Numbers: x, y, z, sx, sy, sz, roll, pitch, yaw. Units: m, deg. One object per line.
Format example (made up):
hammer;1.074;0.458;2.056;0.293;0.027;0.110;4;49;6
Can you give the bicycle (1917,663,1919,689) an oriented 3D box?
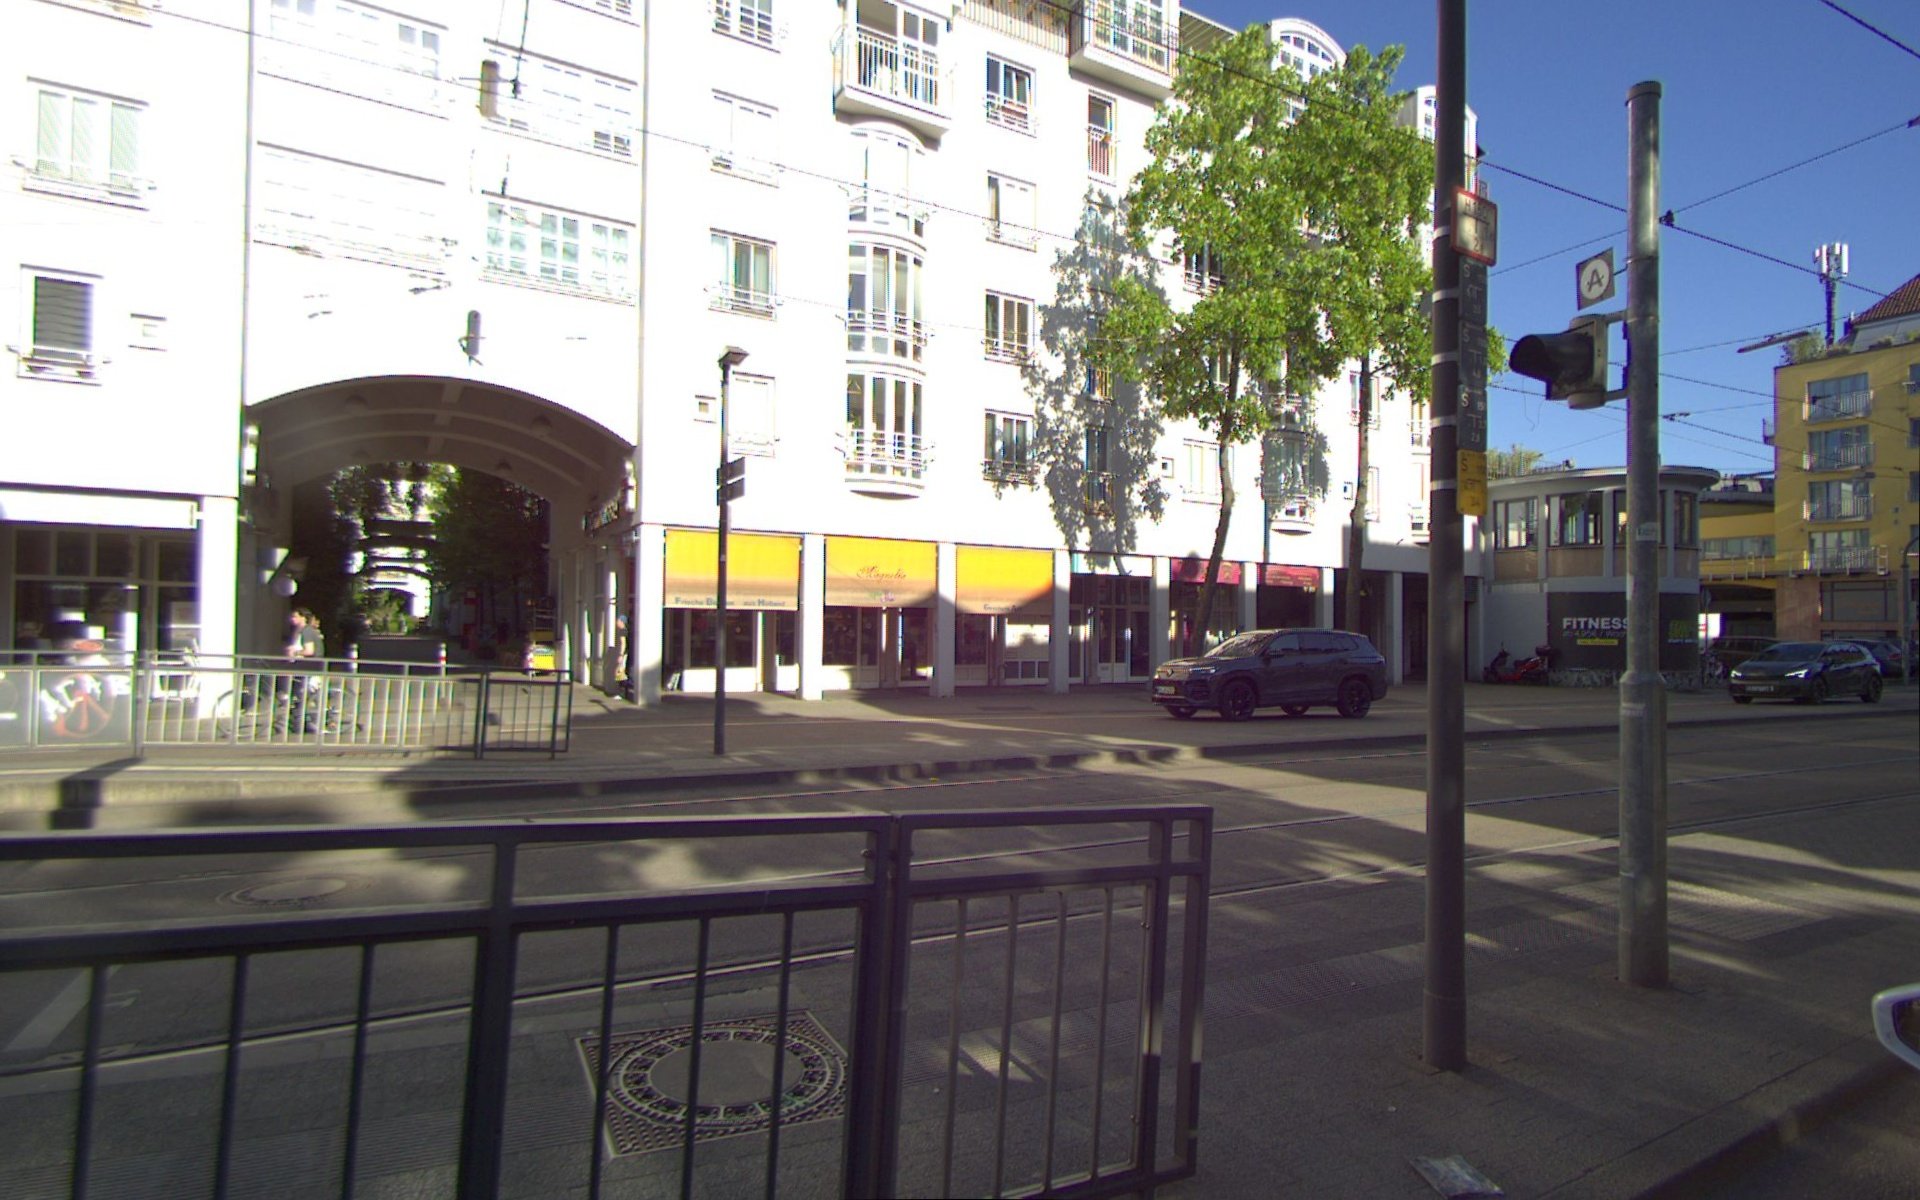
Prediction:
bicycle;32.697;2.504;33.310;2.545;0.838;0.676;2;-2;-30

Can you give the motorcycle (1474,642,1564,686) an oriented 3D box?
motorcycle;17.789;2.012;32.056;0.661;1.305;2.499;1;-2;-32

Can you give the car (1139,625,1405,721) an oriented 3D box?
car;5.867;1.342;18.847;4.759;1.636;1.749;1;-4;-23

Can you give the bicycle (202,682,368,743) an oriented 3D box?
bicycle;-9.618;1.596;14.411;1.914;0.767;0.564;2;-2;-30

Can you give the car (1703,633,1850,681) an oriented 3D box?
car;30.894;2.112;38.108;1.937;1.696;3.964;2;-2;-33

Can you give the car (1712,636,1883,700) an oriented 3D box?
car;21.205;1.692;25.422;3.950;1.505;1.944;1;-4;-28

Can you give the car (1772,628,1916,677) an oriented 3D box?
car;35.289;2.050;40.172;1.937;1.872;3.964;2;-2;-33

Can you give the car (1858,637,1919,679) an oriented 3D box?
car;43.920;2.650;45.876;1.937;1.872;3.964;2;-2;-33

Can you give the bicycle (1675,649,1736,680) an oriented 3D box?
bicycle;25.382;2.194;34.187;2.654;1.015;0.676;2;-2;-30

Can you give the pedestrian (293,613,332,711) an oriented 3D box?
pedestrian;-11.403;1.090;17.700;0.486;1.686;0.359;3;-1;-29

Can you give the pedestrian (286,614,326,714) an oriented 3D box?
pedestrian;-11.224;1.087;17.248;0.486;1.686;0.359;3;-1;-29

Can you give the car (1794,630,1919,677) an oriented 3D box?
car;37.552;2.181;41.845;1.937;1.872;3.964;2;-2;-33

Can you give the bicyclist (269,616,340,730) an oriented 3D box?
bicyclist;-9.399;1.028;14.436;0.768;1.577;0.669;1;-2;-29

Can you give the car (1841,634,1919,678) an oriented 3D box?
car;41.497;2.439;44.018;1.937;1.872;3.964;2;-2;-33
